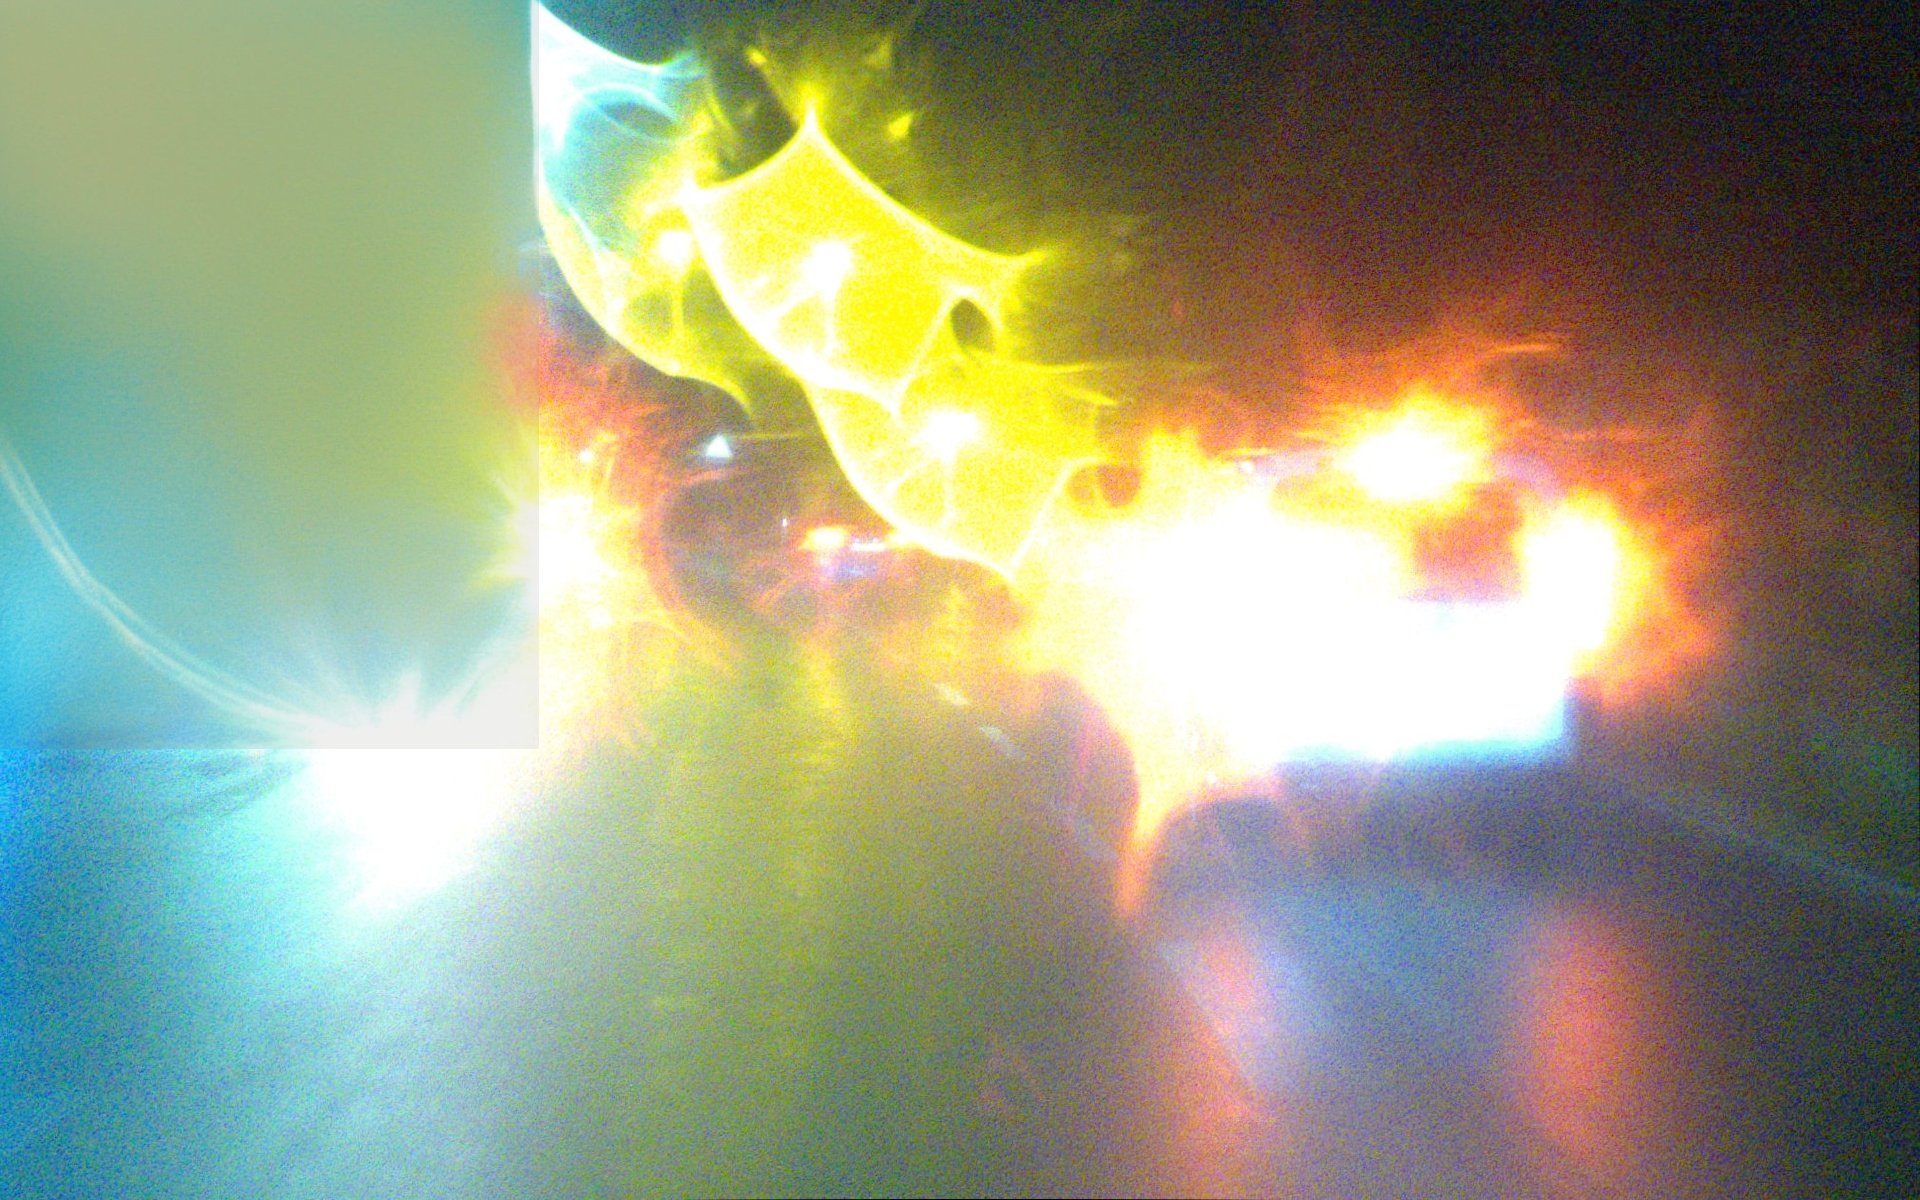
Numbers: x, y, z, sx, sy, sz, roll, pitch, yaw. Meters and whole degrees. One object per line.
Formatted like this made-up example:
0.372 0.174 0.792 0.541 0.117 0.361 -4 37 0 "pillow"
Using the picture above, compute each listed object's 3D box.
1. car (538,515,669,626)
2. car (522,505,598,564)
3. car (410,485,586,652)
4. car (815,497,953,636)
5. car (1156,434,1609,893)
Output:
-5.114 -0.461 49.440 1.783 1.506 4.437 -1 1 -6 "car"
-12.864 -2.092 110.755 1.993 1.711 4.000 4 0 -2 "car"
-5.174 -0.392 38.911 1.783 1.776 4.437 0 1 -5 "car"
-1.209 -0.549 52.758 1.791 2.015 4.580 1 1 -5 "car"
2.005 0.226 17.554 1.791 2.015 4.580 1 1 1 "car"
